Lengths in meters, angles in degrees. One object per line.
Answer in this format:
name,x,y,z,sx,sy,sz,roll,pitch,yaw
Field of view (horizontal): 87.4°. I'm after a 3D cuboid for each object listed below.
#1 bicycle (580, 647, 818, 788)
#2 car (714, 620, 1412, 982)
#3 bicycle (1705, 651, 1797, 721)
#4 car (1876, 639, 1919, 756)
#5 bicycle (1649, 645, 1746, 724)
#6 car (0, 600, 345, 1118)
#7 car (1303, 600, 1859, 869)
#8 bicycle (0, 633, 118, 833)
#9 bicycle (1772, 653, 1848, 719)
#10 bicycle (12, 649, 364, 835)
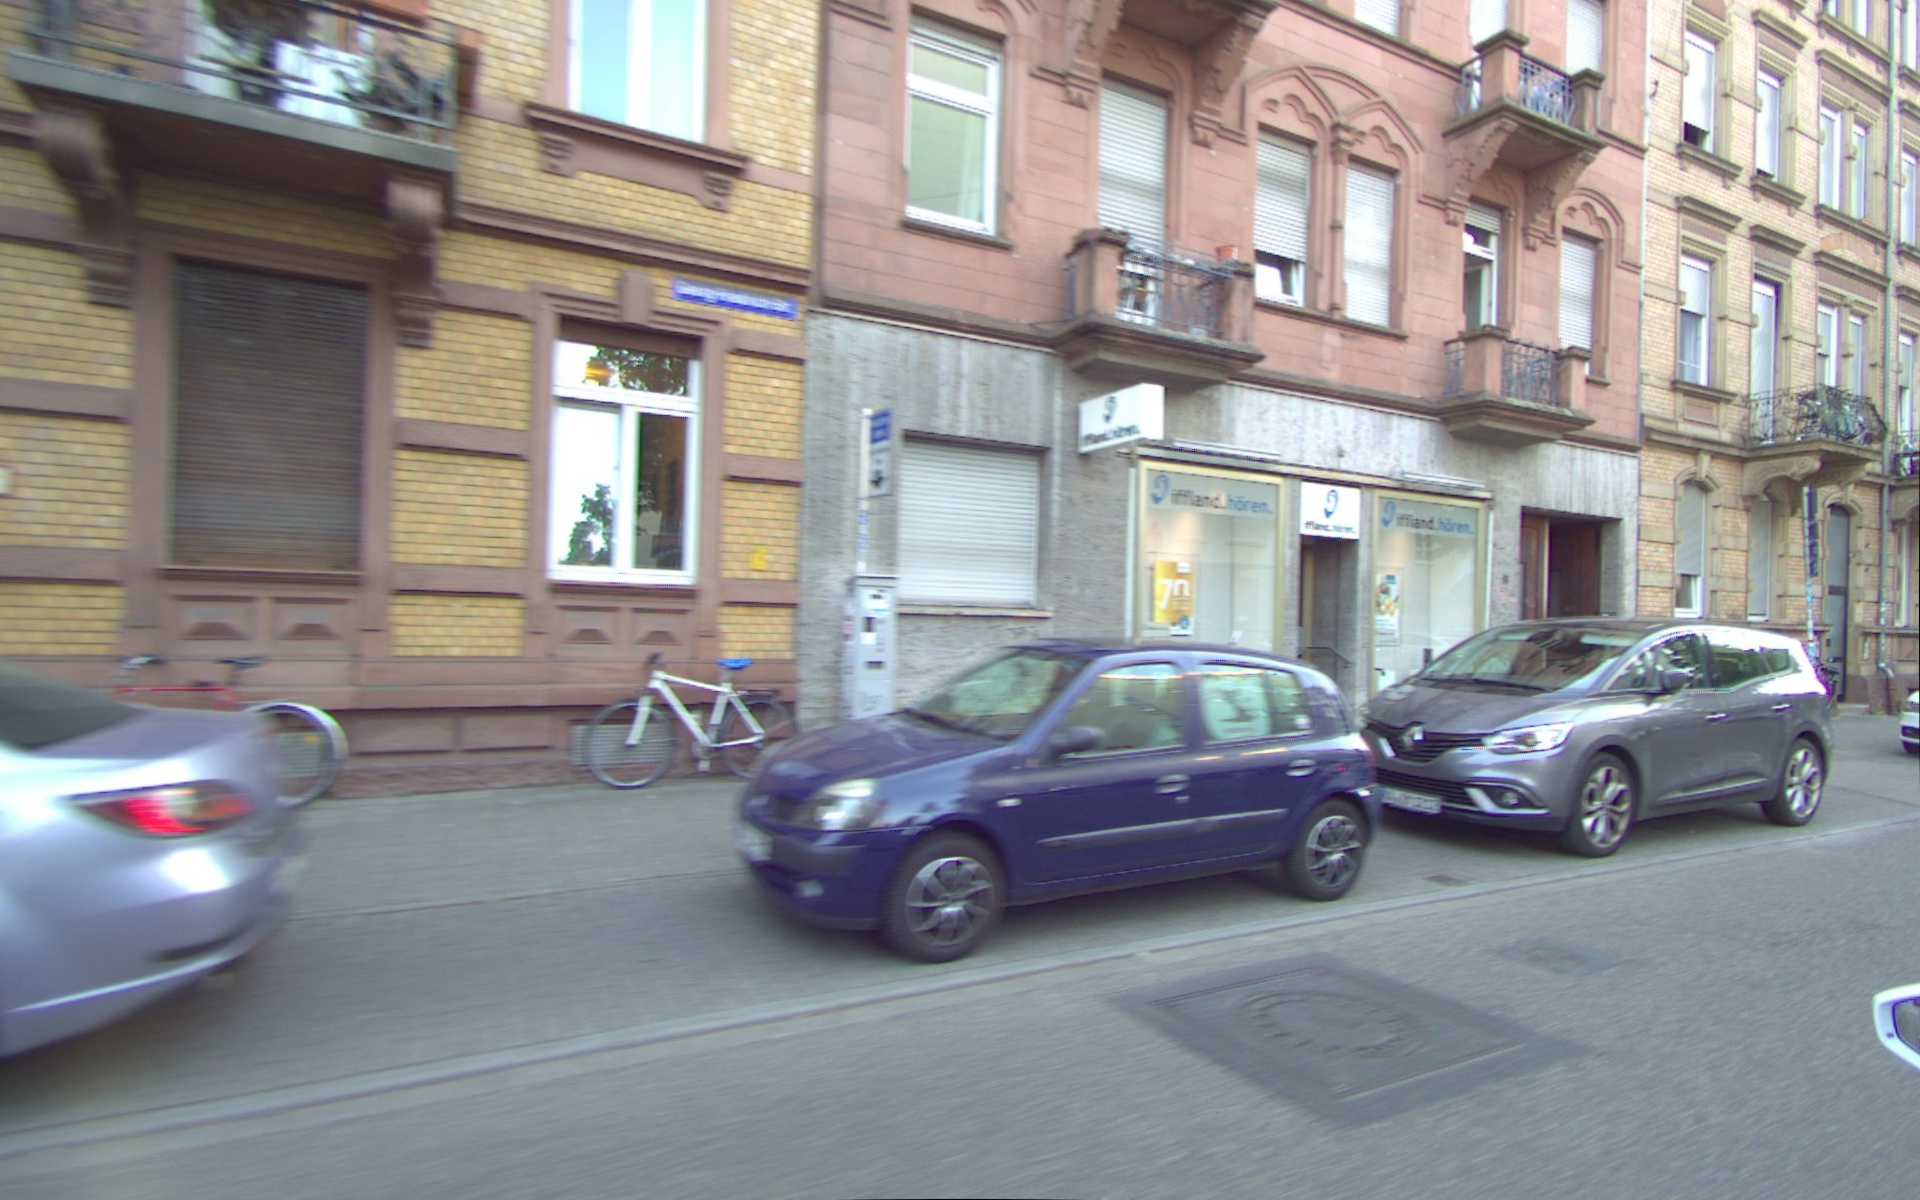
bicycle,-2.139,0.937,8.307,1.824,1.036,0.447,2,3,-28
car,0.624,0.881,5.675,3.649,1.439,1.579,1,0,-27
bicycle,12.698,1.363,16.118,1.604,1.050,0.563,2,0,-29
car,14.074,1.270,13.092,4.452,1.431,1.751,1,0,-28
bicycle,11.376,1.283,15.485,1.709,1.147,0.513,2,0,-29
car,-4.520,0.700,2.892,4.524,1.439,1.716,2,0,-28
car,5.084,0.887,8.127,4.390,1.655,1.845,1,0,-28
bicycle,-6.165,0.784,5.927,1.737,1.138,0.547,1,2,-28
bicycle,14.495,1.436,17.117,1.608,1.041,0.588,2,0,-36
bicycle,-4.941,0.870,6.571,1.737,1.051,0.547,1,2,-28
